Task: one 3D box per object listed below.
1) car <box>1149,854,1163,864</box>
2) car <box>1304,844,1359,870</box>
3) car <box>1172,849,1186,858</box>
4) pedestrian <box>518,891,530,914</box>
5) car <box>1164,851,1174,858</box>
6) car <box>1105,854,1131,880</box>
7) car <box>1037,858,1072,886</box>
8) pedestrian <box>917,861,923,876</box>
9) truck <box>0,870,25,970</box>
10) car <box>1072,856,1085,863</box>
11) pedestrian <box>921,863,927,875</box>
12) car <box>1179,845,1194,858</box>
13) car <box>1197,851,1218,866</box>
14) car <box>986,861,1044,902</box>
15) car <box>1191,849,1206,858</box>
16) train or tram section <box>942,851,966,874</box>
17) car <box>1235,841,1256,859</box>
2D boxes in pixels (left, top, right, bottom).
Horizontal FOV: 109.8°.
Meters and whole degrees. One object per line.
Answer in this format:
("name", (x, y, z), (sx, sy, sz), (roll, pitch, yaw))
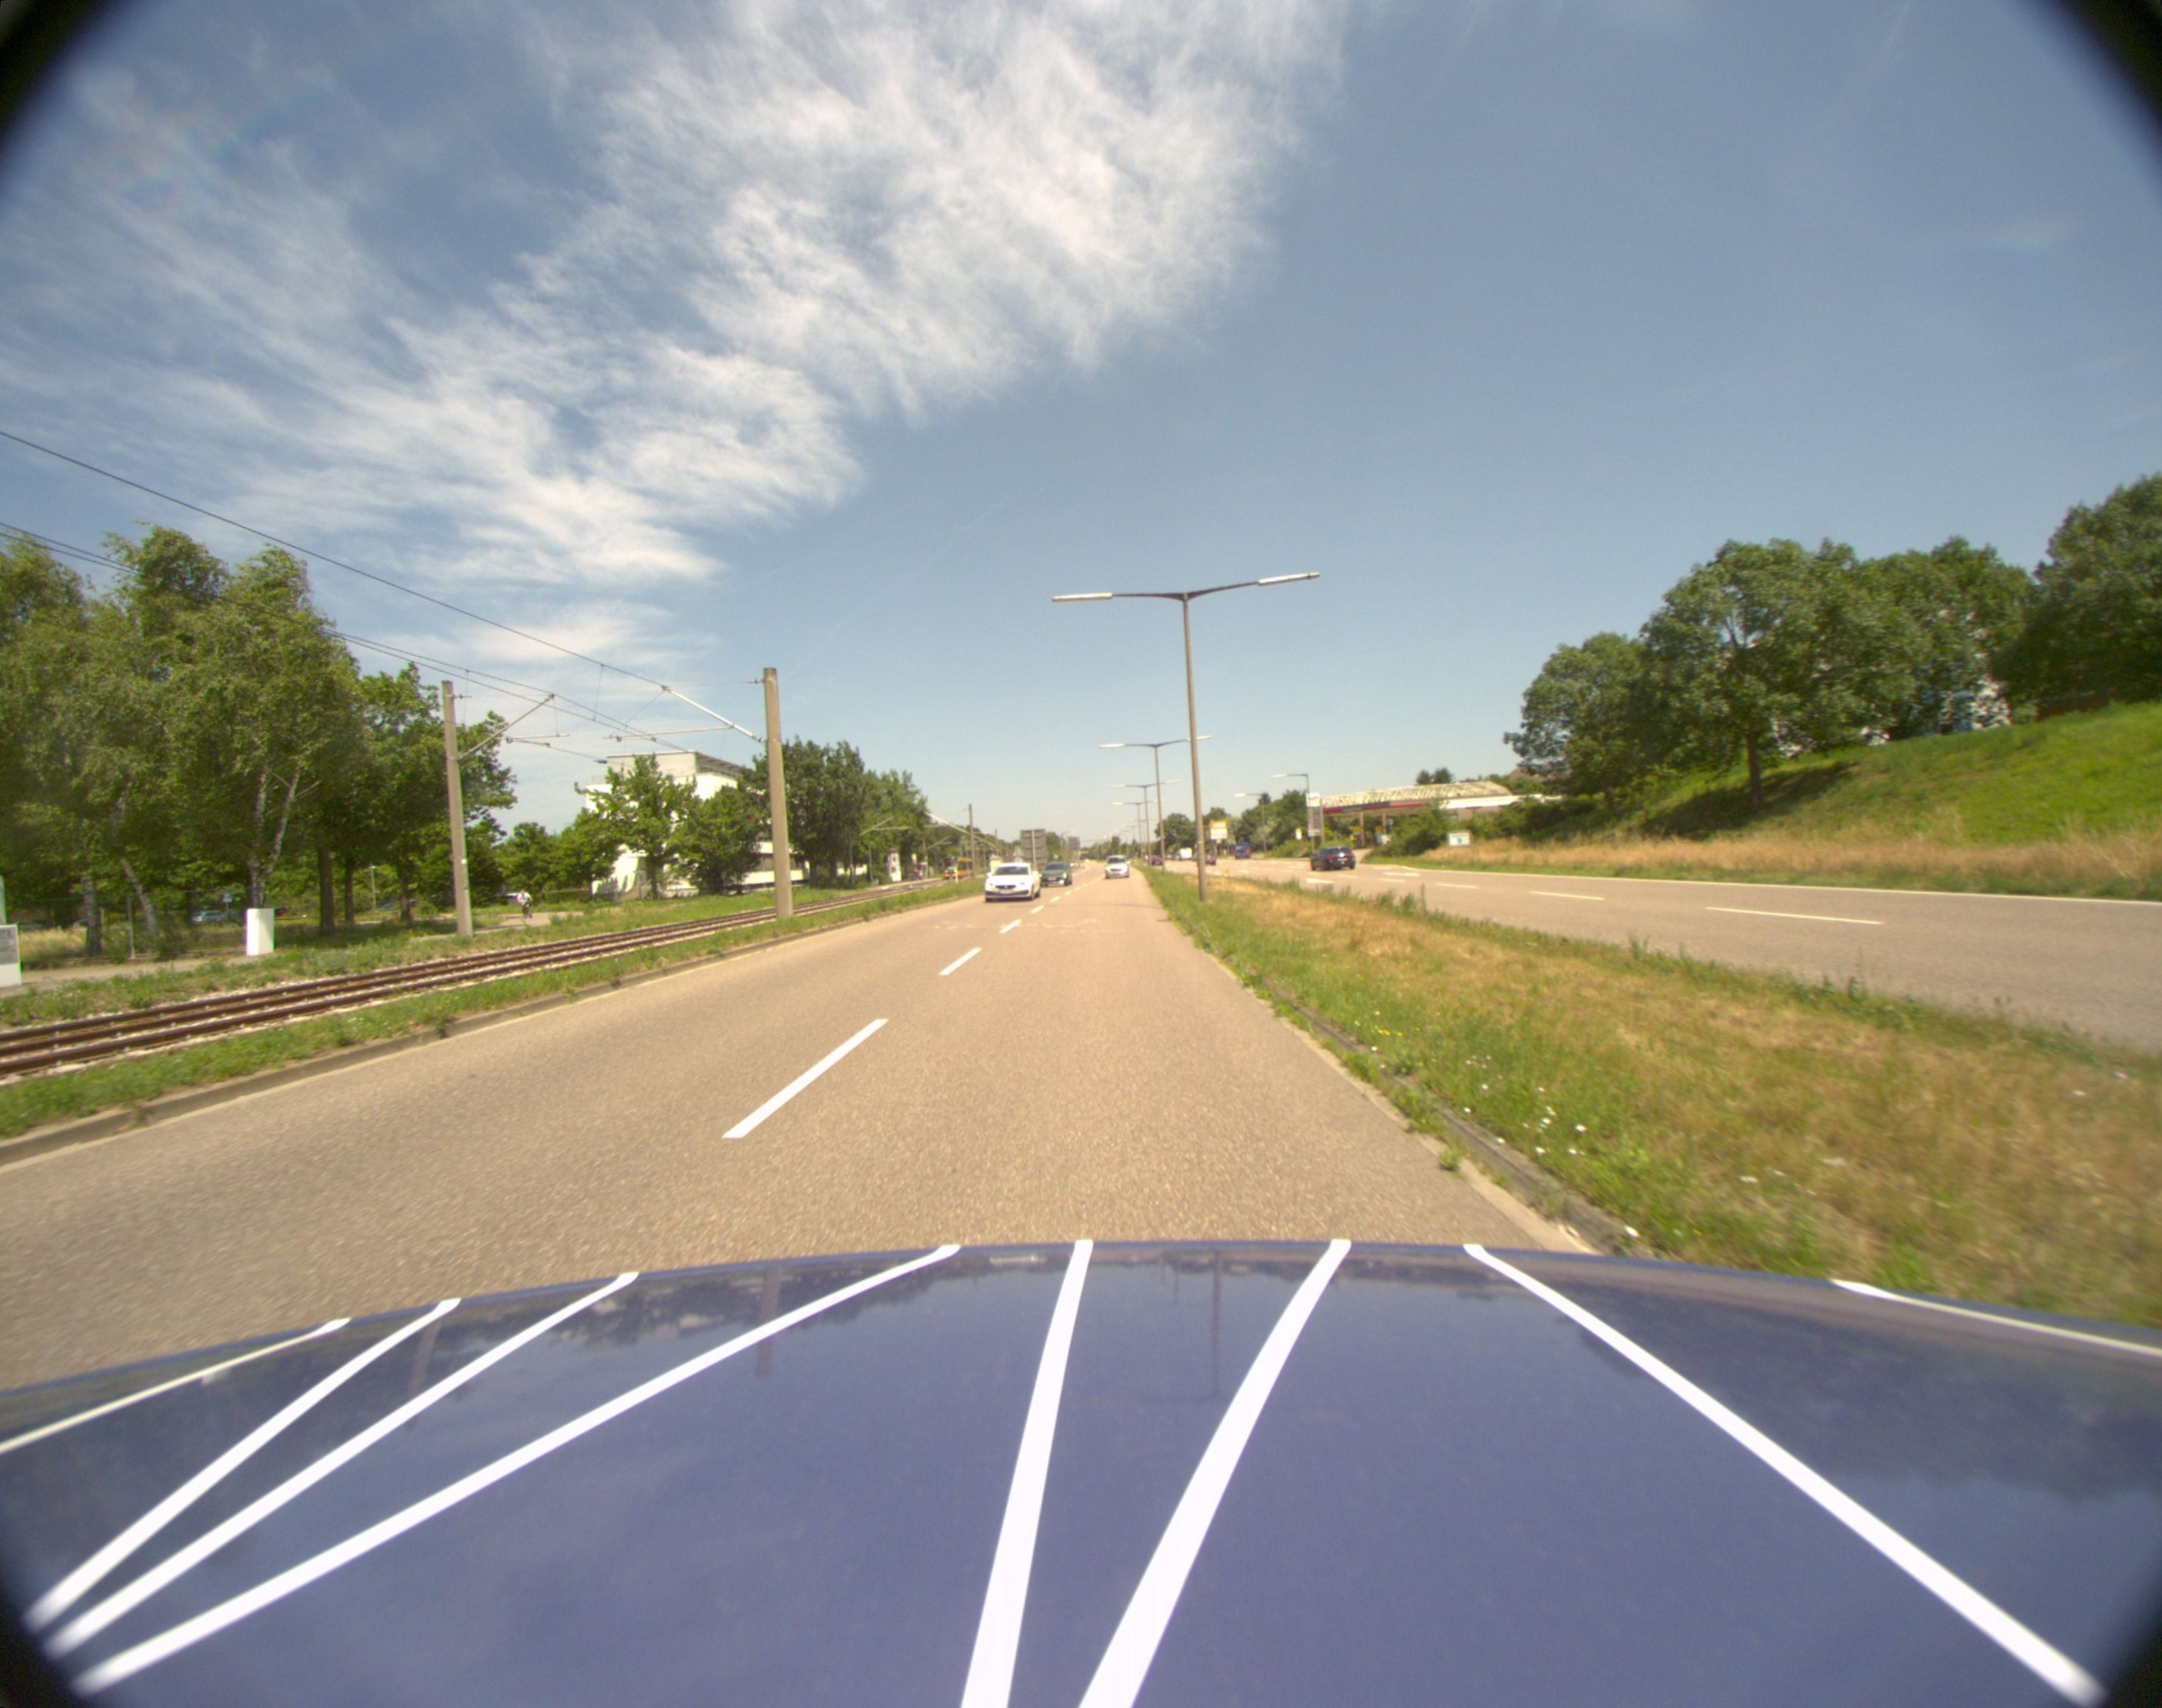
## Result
("car", (11.177, 0.714, 113.425), (1.679, 1.426, 4.192), (-5, 0, 3))
("car", (14.871, 0.158, 45.284), (1.998, 1.352, 4.667), (-4, 0, 5))
("car", (20.404, -0.107, 158.308), (1.970, 1.740, 5.021), (-4, 1, 0))
("pedestrian", (-34.545, 2.990, 47.107), (0.459, 1.395, 0.582), (-4, 1, -44))
("car", (20.875, 0.180, 180.579), (1.662, 1.530, 4.000), (-7, 0, 1))
("car", (3.094, 1.047, 64.060), (1.876, 1.865, 5.732), (-6, 0, 1))
("car", (-1.627, 1.082, 47.754), (1.722, 1.587, 4.001), (-3, 0, 3))
("pedestrian", (-21.442, 1.920, 101.119), (0.696, 1.831, 0.711), (-5, 1, -12))
("truck", (-33.636, 2.010, 20.716), (5.857, 2.827, 2.319), (-2, 1, -5))
("car", (-0.589, 1.295, 181.673), (1.996, 1.652, 4.005), (-4, 0, 18))
("pedestrian", (-21.654, 2.021, 104.665), (0.553, 1.598, 0.690), (-5, 1, 3))
("car", (19.840, -0.494, 143.114), (2.254, 2.260, 5.450), (-5, 0, 3))
("car", (13.839, 0.508, 83.313), (1.696, 1.483, 4.001), (-3, 0, 2))
("car", (-2.499, 1.031, 29.803), (1.686, 1.381, 4.451), (-2, 0, 2))
("car", (19.214, -0.057, 124.680), (1.835, 1.441, 4.852), (-4, 0, 2))
("train or tram section", (-20.839, 1.318, 125.619), (2.822, 3.560, 12.496), (0, 0, -4))
("car", (24.857, -0.623, 114.816), (2.176, 2.397, 5.678), (-4, 0, 19))
